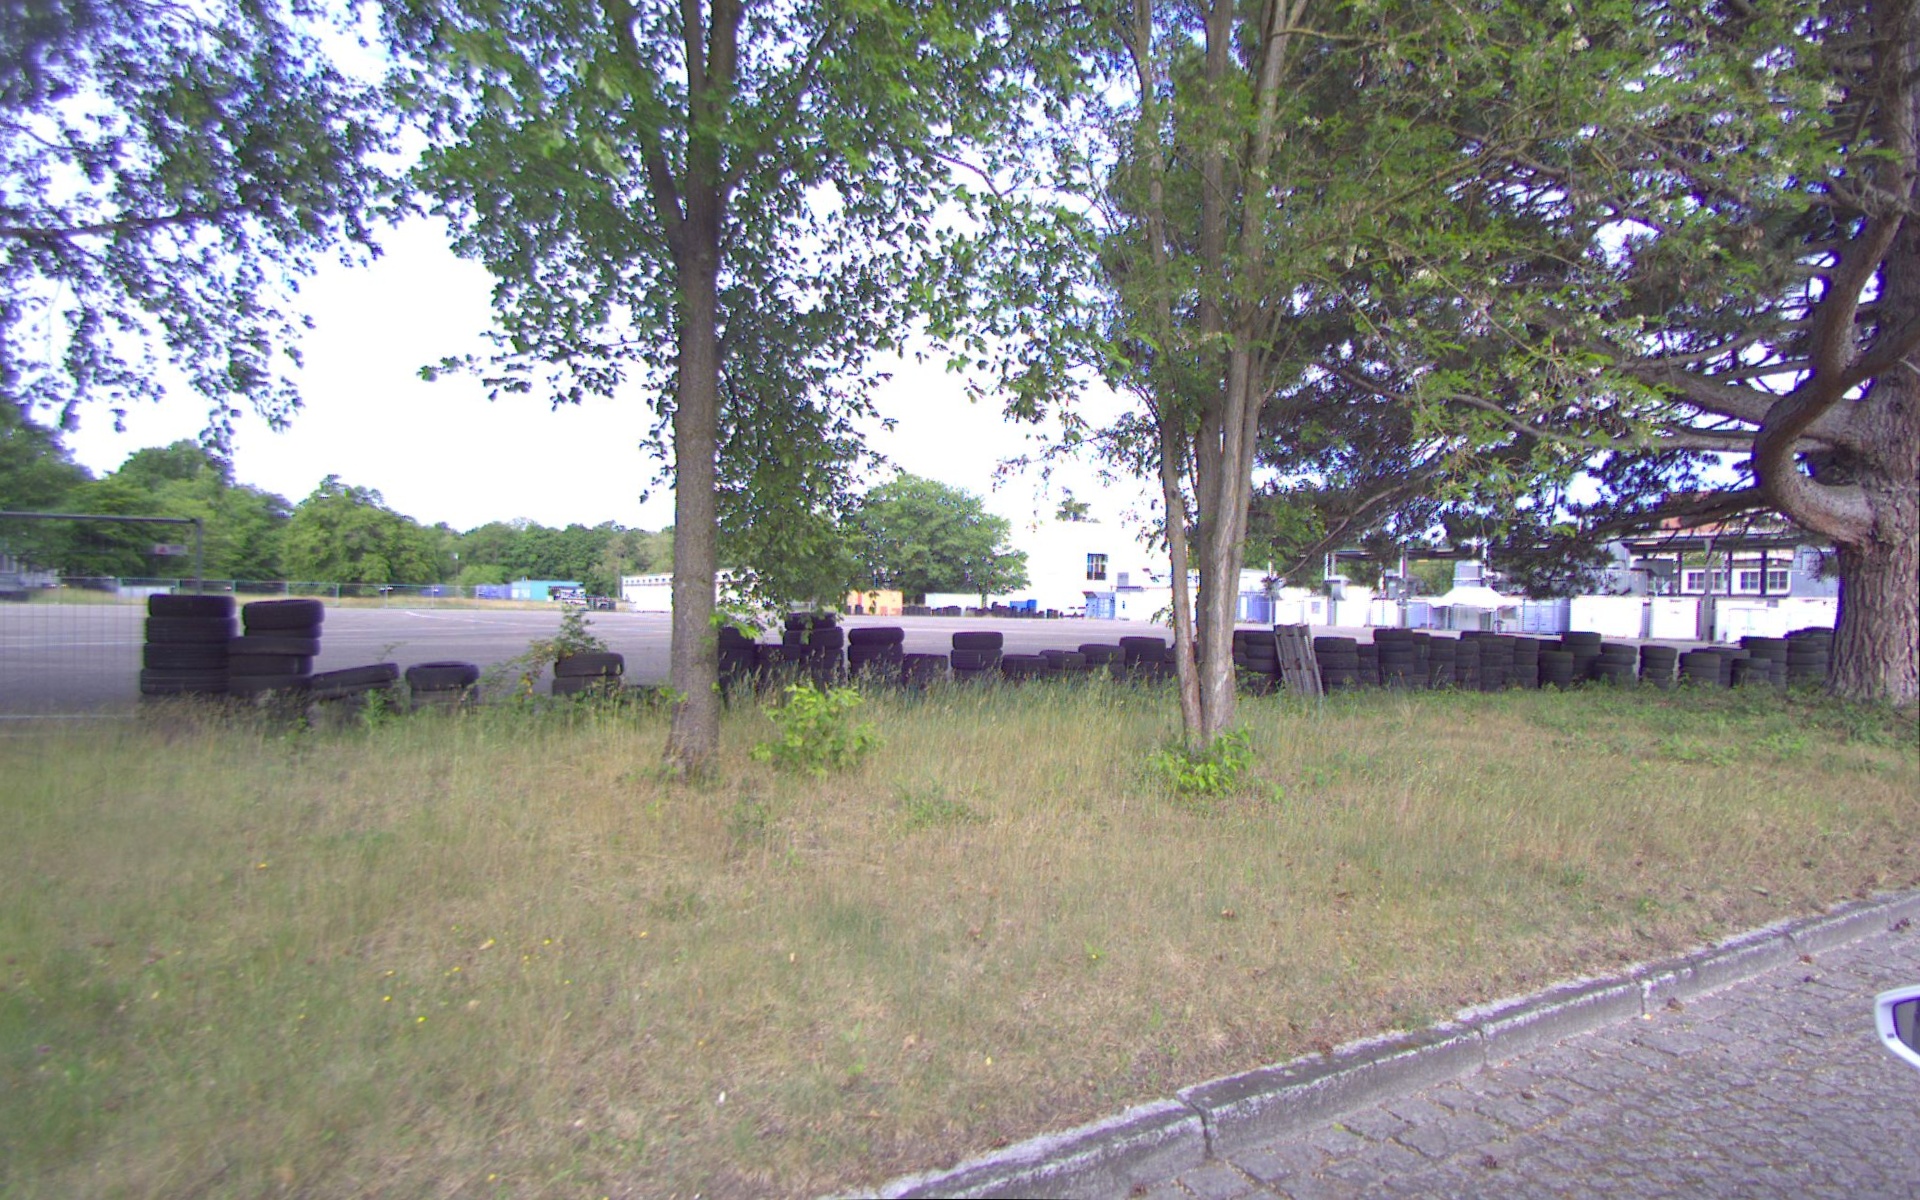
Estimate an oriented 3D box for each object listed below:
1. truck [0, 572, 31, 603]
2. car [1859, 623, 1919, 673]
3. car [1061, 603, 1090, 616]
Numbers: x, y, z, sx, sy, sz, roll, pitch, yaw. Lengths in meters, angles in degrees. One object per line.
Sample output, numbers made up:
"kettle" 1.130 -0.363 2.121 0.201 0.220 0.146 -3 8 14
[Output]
"truck" -72.490 -0.968 75.522 2.346 2.227 6.503 1 0 -30
"car" 30.202 1.508 31.477 3.440 1.472 1.762 1 0 -24
"car" 14.442 1.163 125.879 1.612 1.553 3.946 1 0 -31
